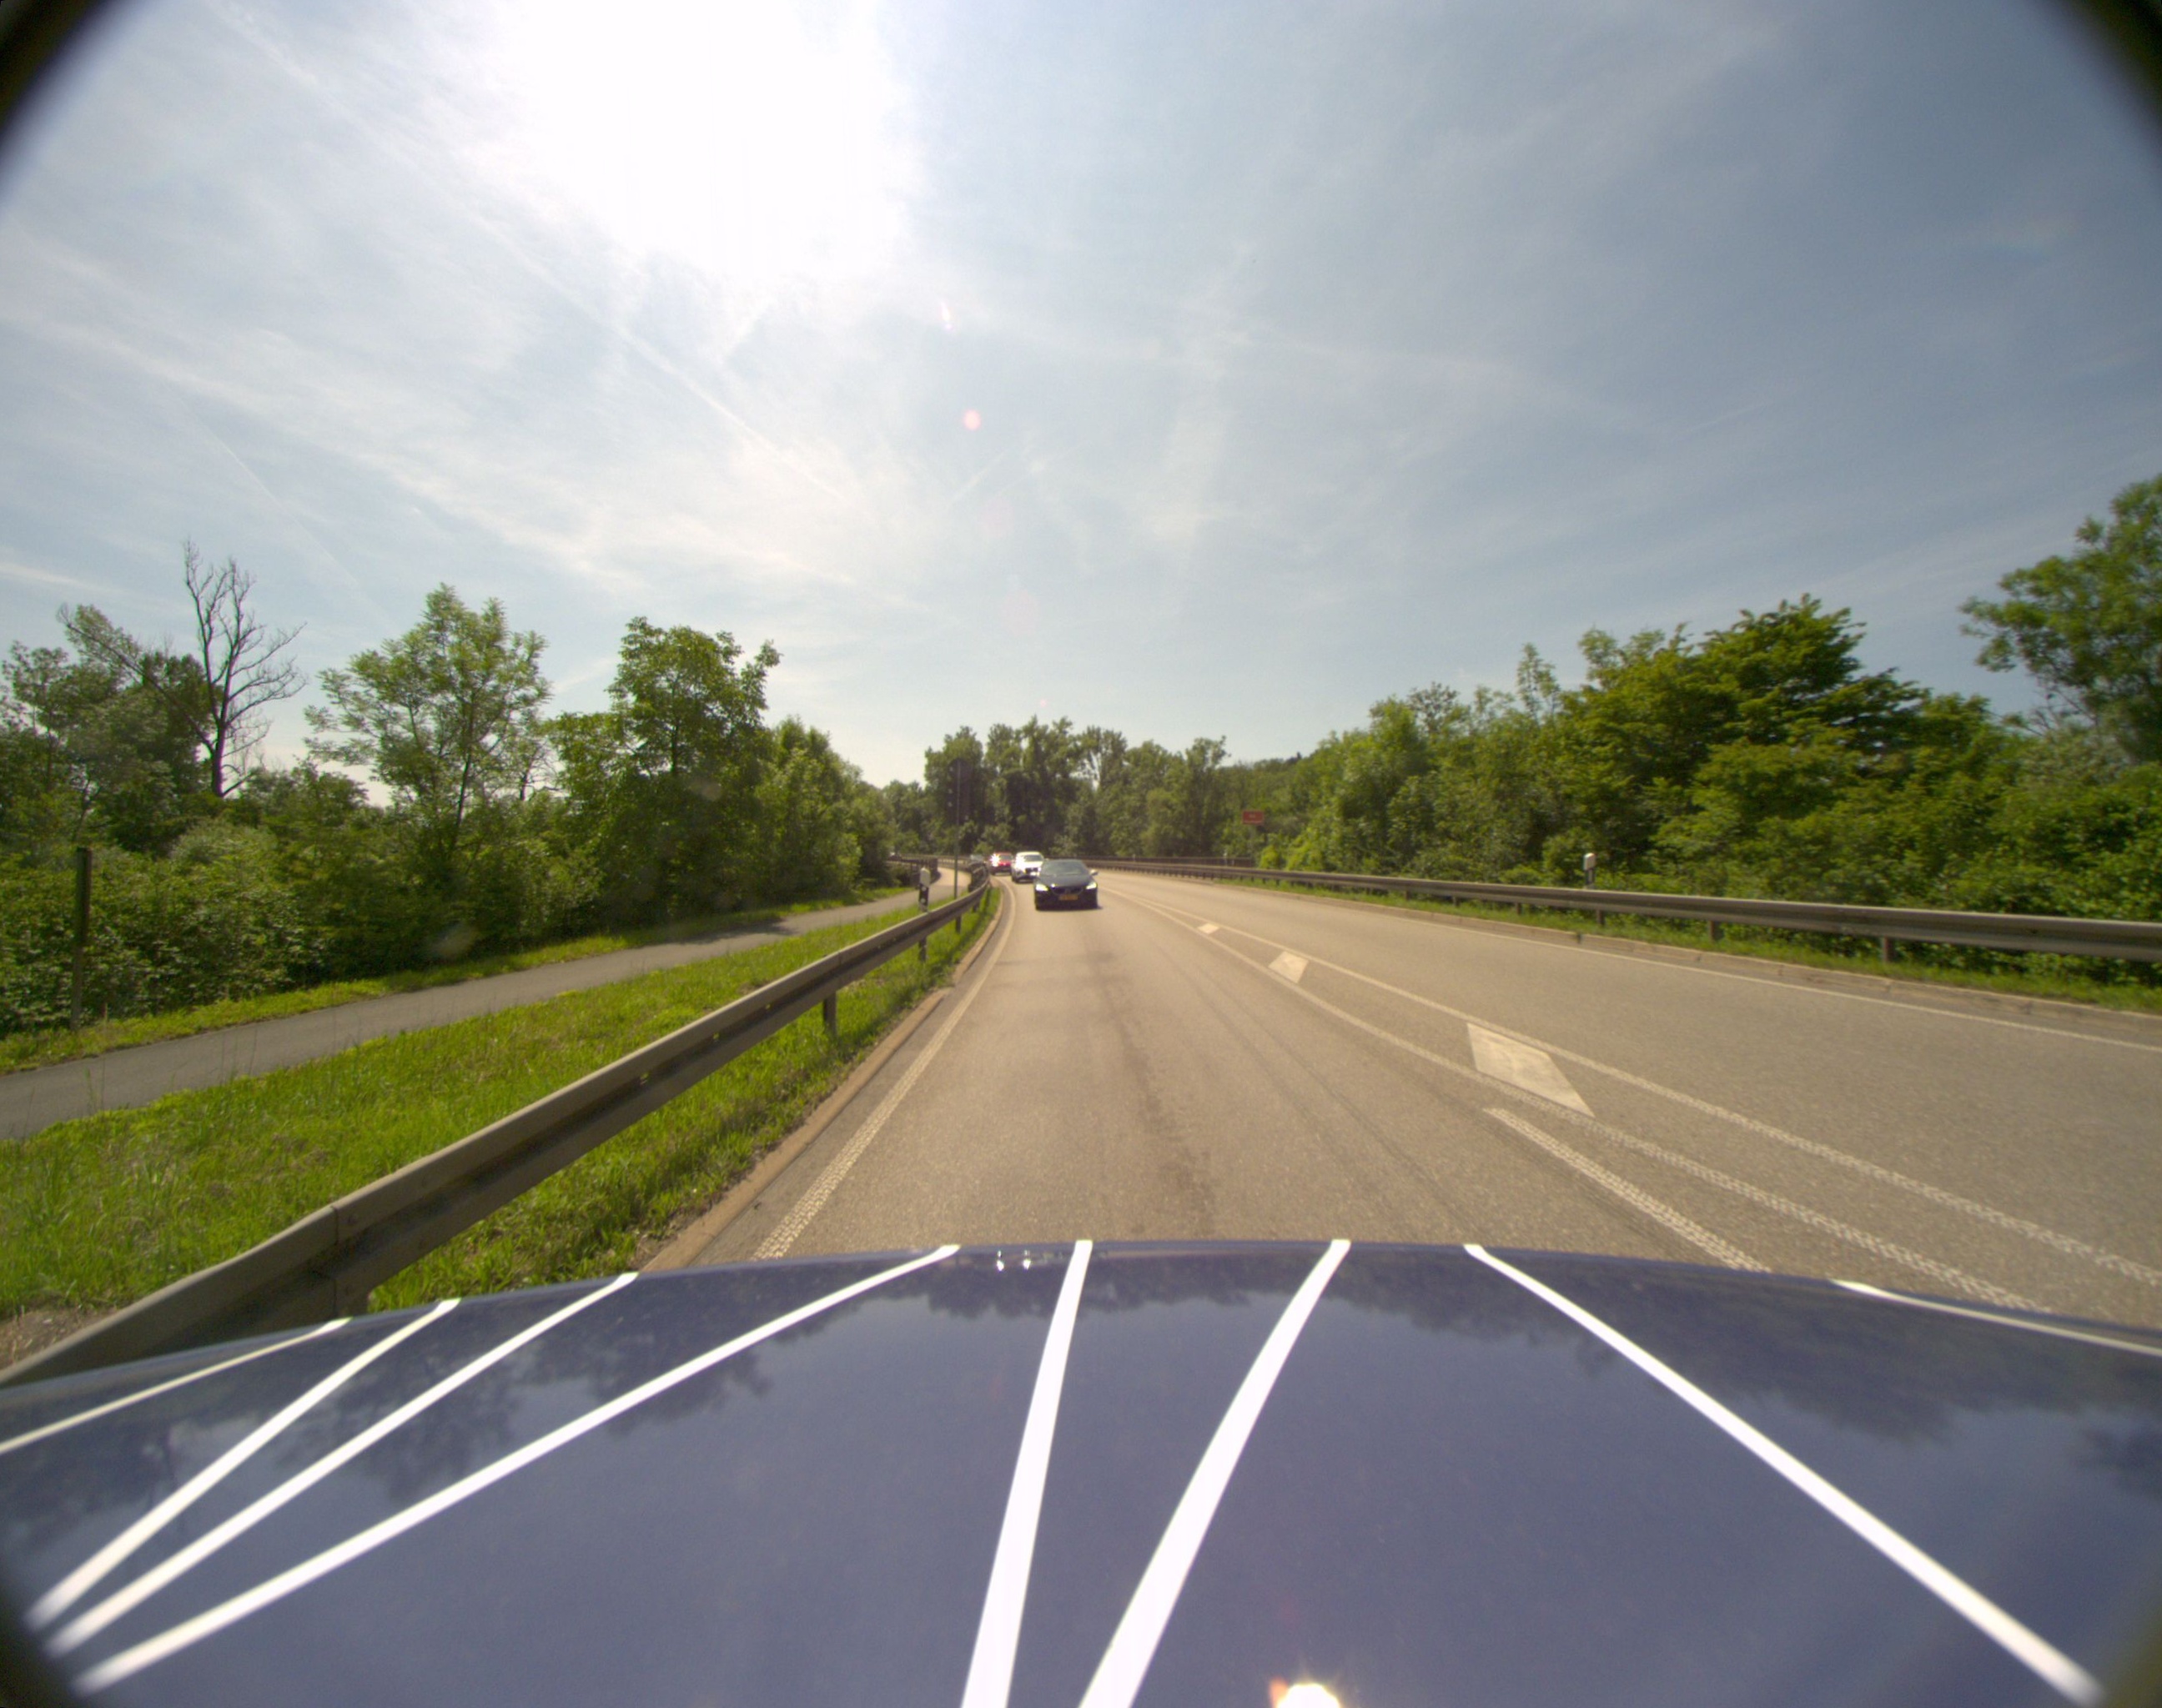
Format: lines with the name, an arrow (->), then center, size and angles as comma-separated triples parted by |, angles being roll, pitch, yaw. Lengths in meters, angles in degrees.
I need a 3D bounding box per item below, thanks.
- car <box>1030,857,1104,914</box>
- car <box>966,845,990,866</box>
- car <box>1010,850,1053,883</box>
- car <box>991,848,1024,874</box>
car -> -0.513, 0.876, 22.743 | 1.910, 1.413, 3.948 | -3, 1, -5
car -> -10.981, 0.118, 81.017 | 2.001, 2.002, 3.994 | -3, 2, -14
car -> -2.804, 0.661, 42.125 | 1.910, 1.638, 3.947 | -3, 0, -9
car -> -5.538, 0.507, 56.693 | 2.000, 1.765, 3.996 | -3, 0, -11
